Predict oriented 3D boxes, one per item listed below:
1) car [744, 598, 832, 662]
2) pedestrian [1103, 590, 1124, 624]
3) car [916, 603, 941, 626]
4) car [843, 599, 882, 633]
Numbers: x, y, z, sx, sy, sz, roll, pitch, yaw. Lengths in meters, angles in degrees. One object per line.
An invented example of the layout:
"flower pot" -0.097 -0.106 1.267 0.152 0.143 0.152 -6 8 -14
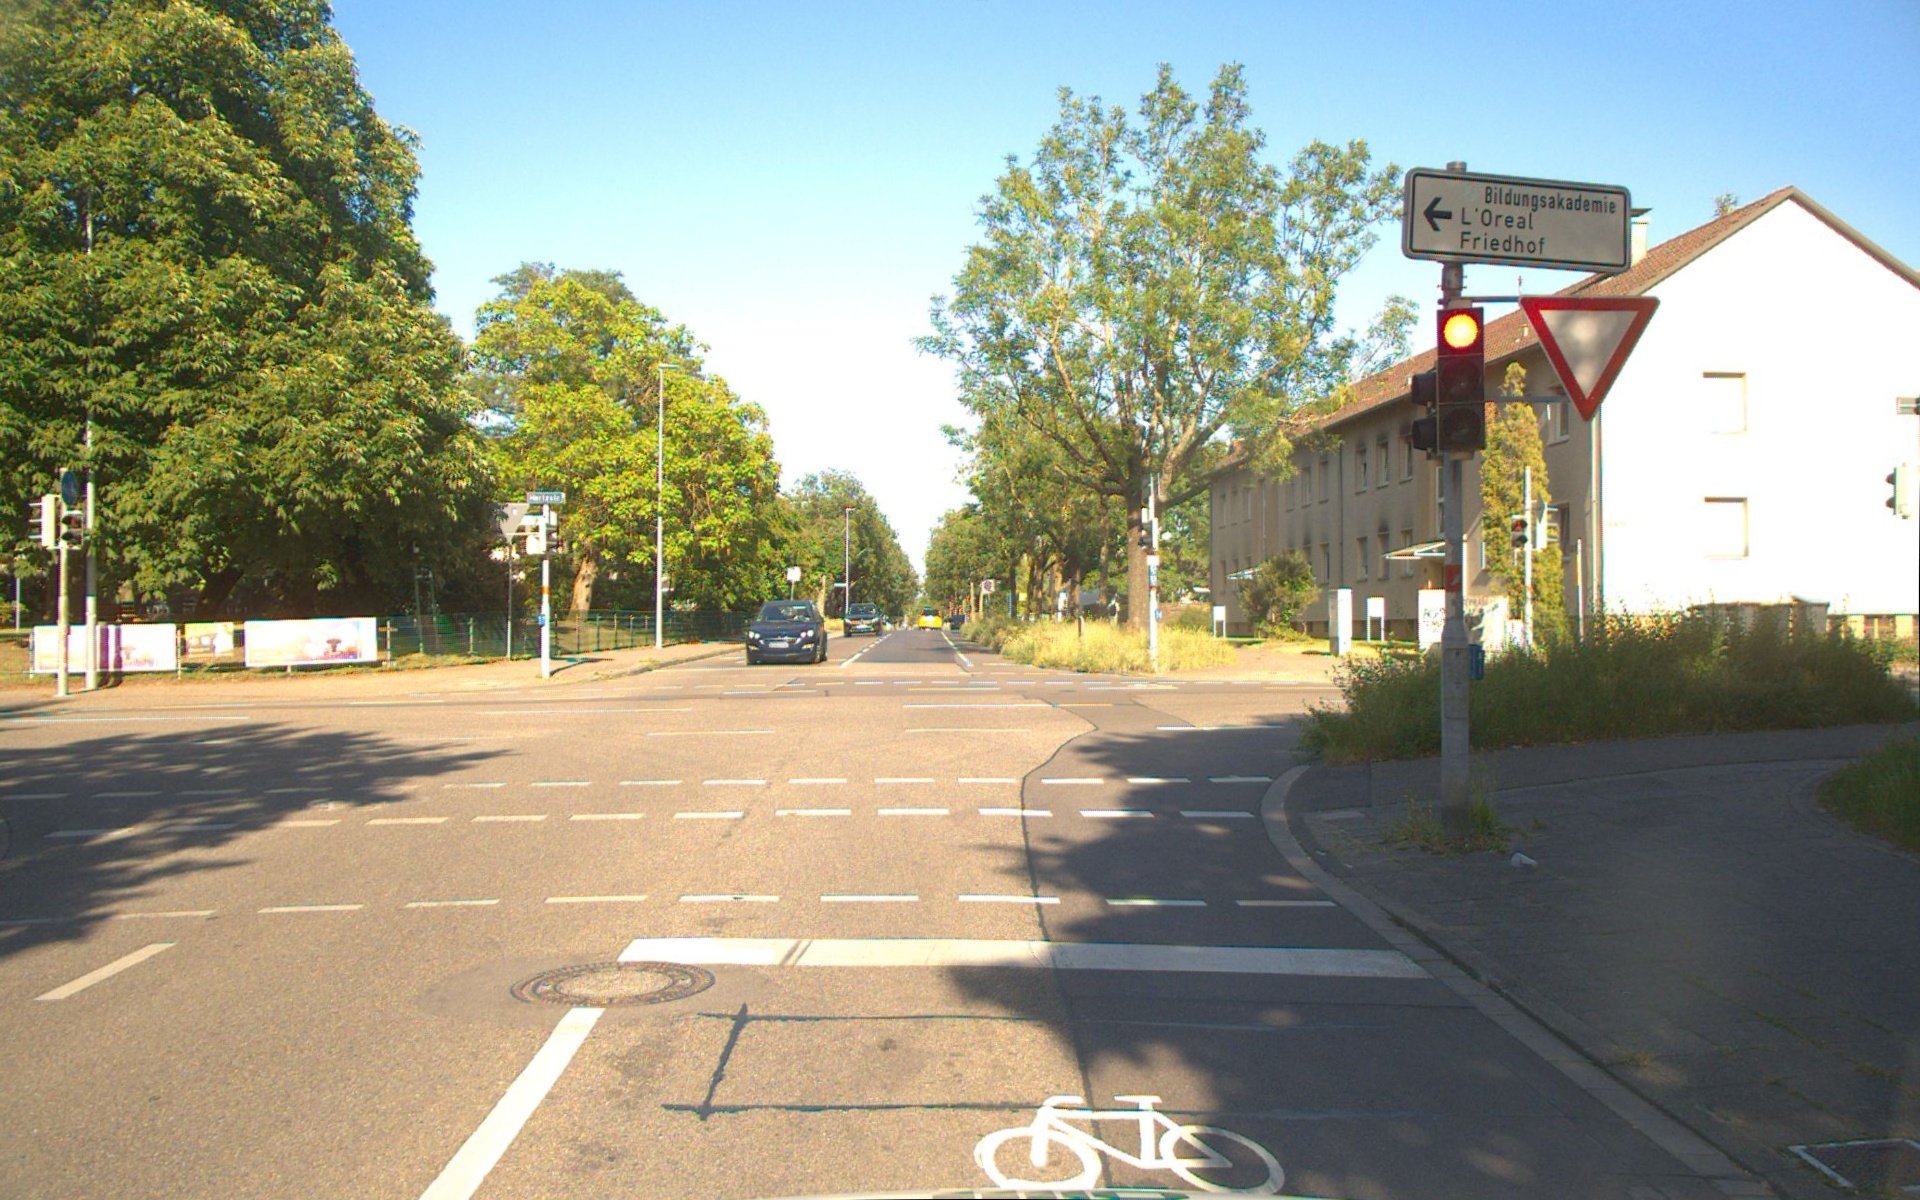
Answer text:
"car" -3.959 0.668 38.547 1.676 1.410 3.471 0 0 0
"pedestrian" 7.025 0.327 75.784 0.825 1.519 0.924 2 0 -1
"car" -2.253 1.020 117.713 1.716 1.610 3.999 1 0 -1
"car" -4.870 0.775 82.687 1.722 1.653 3.268 0 0 0
